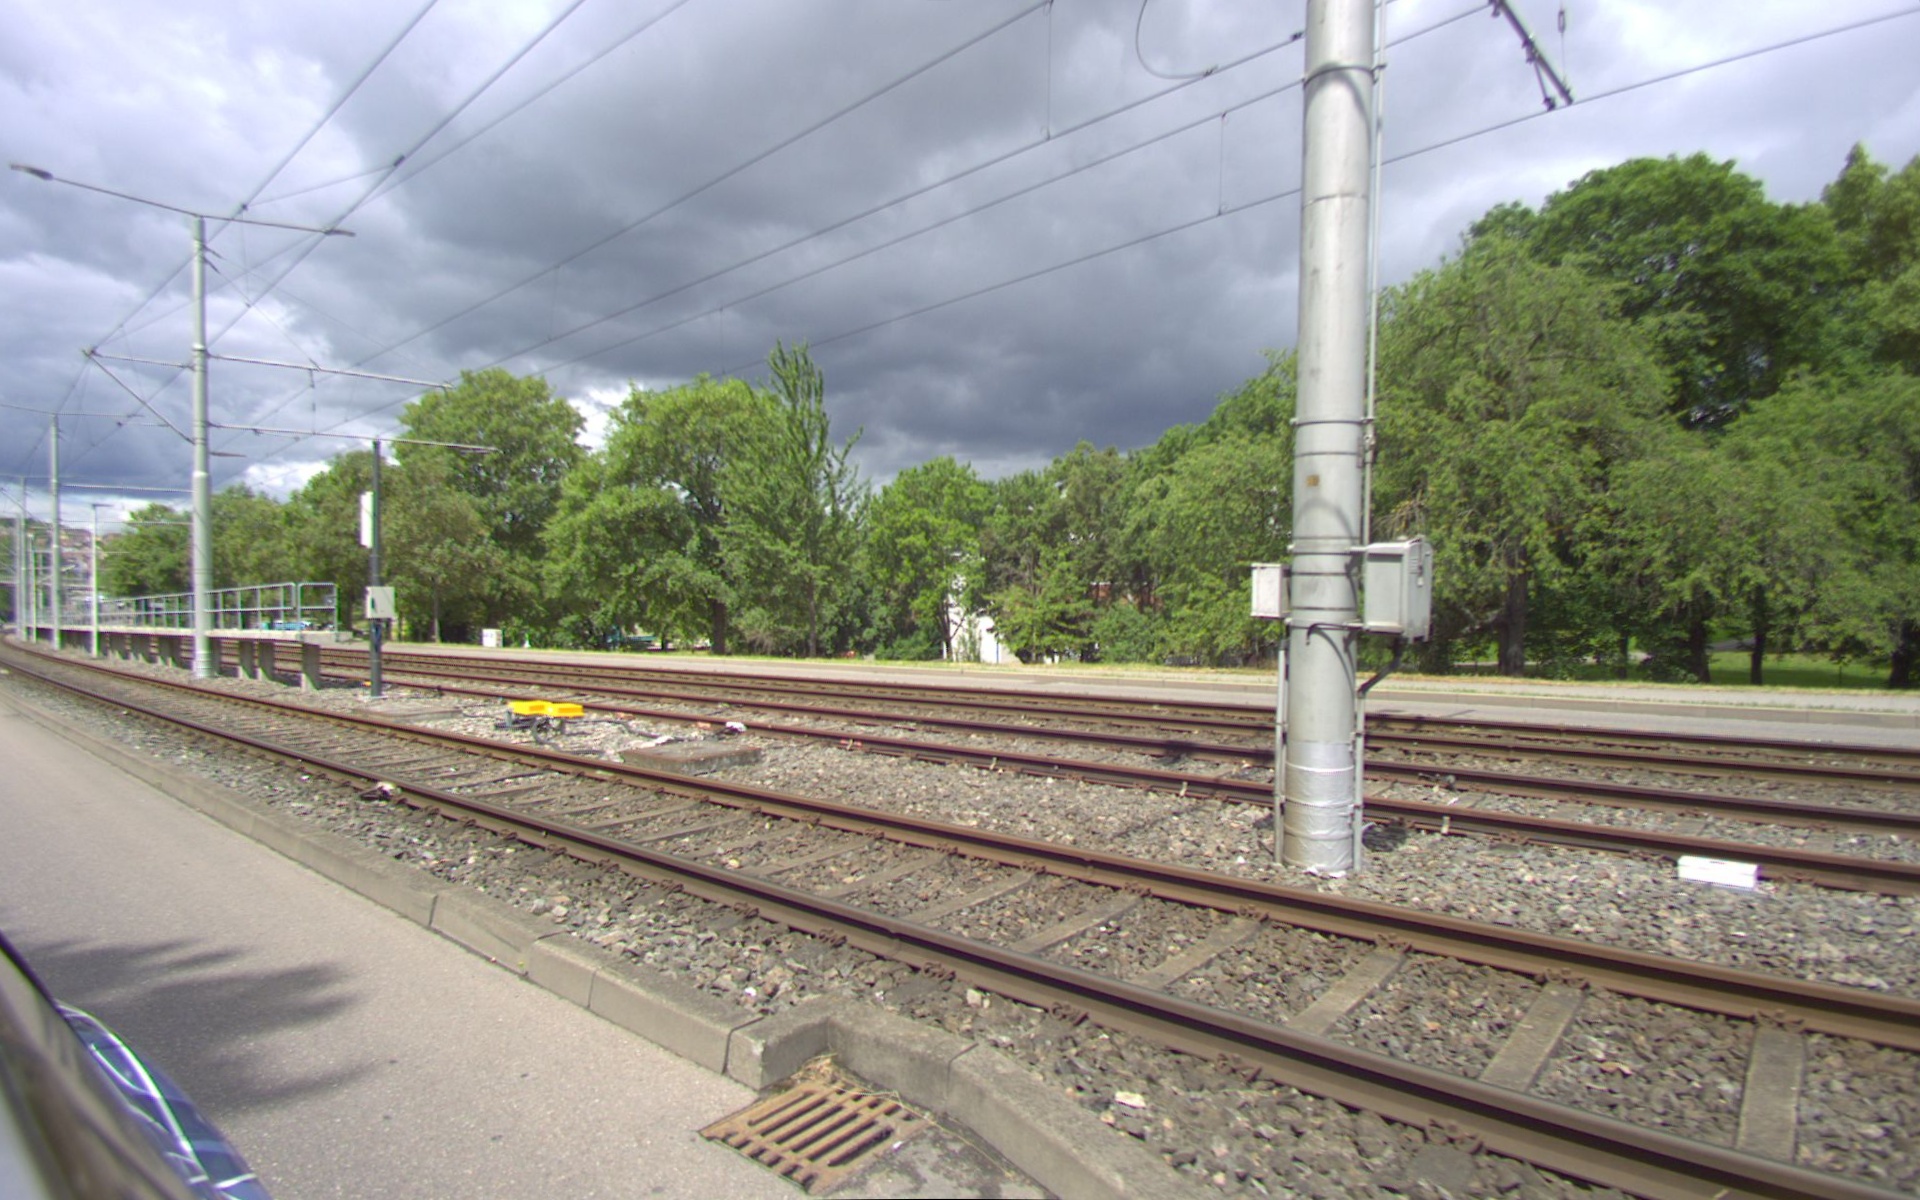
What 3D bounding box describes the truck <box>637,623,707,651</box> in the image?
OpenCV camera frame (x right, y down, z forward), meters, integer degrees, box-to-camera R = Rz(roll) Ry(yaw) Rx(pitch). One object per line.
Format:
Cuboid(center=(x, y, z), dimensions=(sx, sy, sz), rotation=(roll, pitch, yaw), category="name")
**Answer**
Cuboid(center=(-29.942, 3.884, 105.455), dimensions=(6.523, 2.877, 2.682), rotation=(3, -3, -43), category="truck")
